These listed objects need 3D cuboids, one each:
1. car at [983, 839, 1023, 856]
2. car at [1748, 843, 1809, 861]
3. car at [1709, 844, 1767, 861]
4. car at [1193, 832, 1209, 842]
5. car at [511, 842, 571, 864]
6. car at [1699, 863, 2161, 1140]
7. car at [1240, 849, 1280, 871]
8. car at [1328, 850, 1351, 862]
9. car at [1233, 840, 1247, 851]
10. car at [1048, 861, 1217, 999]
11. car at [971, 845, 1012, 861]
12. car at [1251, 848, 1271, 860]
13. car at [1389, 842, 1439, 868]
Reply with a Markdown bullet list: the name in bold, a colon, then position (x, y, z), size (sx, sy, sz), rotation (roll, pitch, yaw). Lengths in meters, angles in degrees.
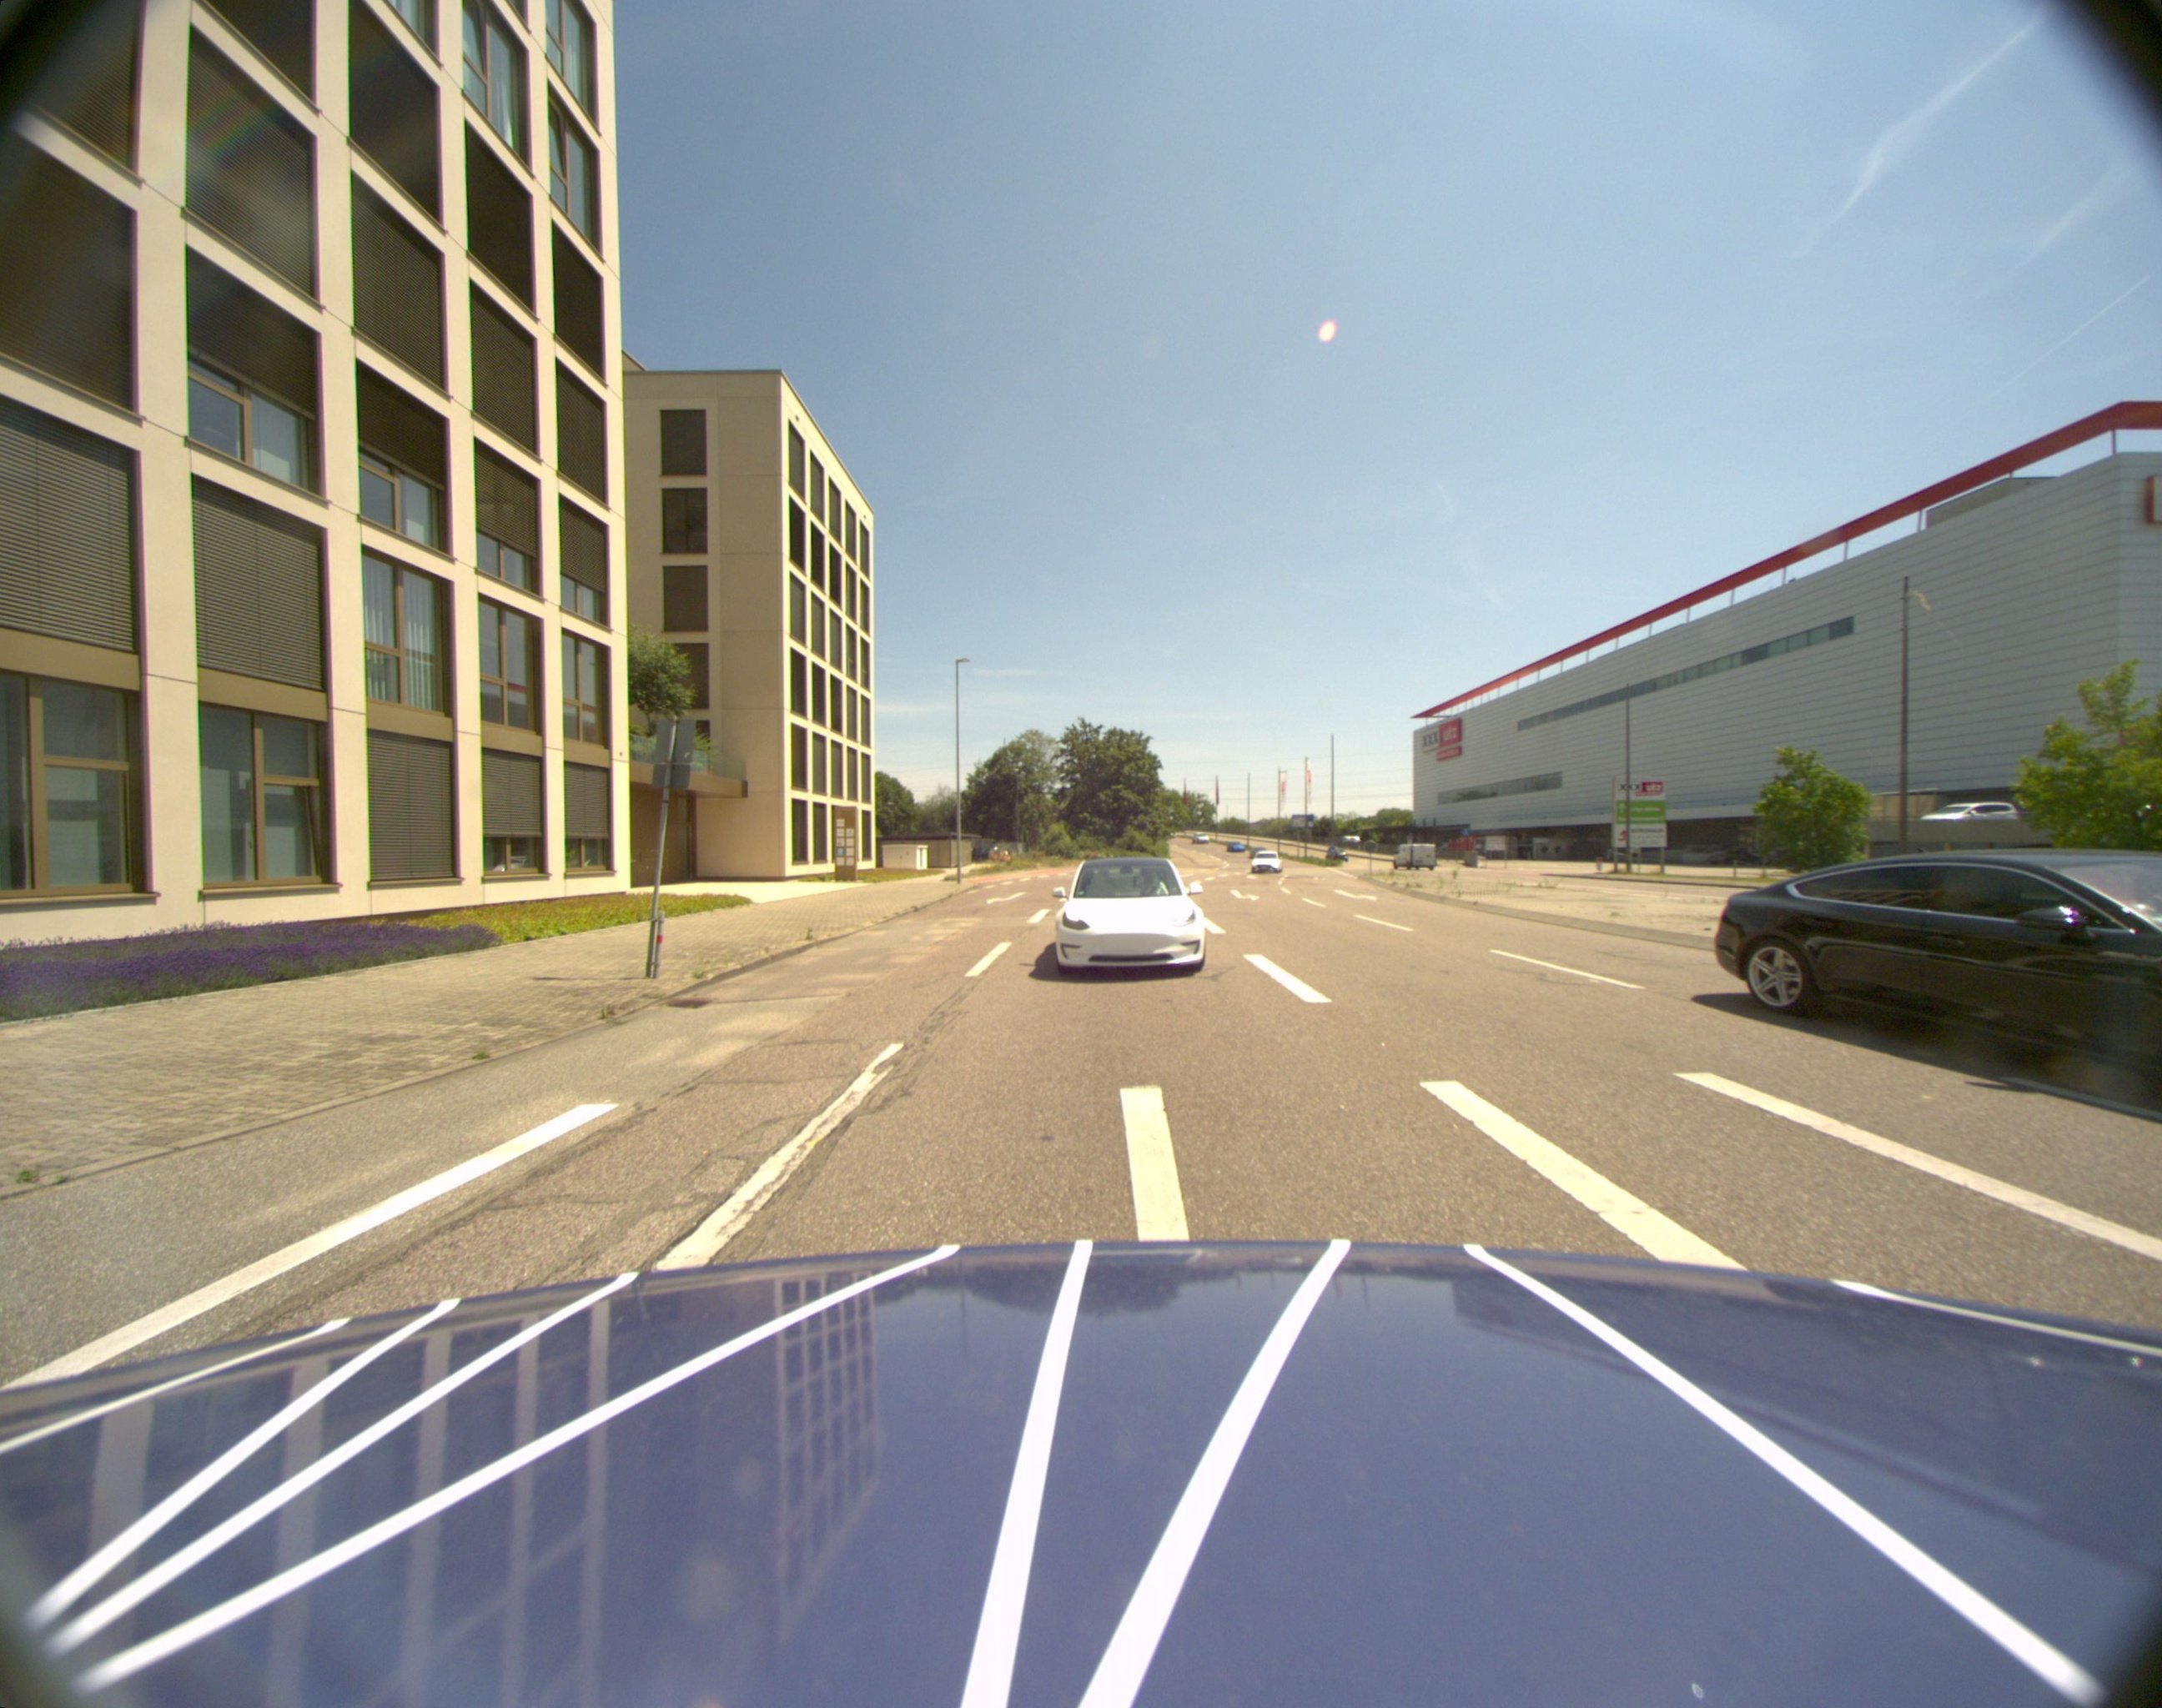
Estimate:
- **car**: position (-8.746, -0.727, 85.397), size (4.005, 1.942, 1.996), rotation (0, 1, -24)
- **car**: position (61.183, -0.184, 66.671), size (3.482, 1.487, 1.959), rotation (0, 1, 2)
- **car**: position (61.069, -0.152, 70.647), size (3.746, 1.611, 1.911), rotation (0, 1, 1)
- **car**: position (20.369, -2.903, 128.702), size (1.680, 1.566, 4.054), rotation (-1, 1, -6)
- **car**: position (-47.310, -0.120, 66.695), size (1.997, 1.841, 4.003), rotation (0, 1, 10)
- **car**: position (6.571, 0.793, 4.813), size (1.752, 1.382, 4.534), rotation (-1, 0, 2)
- **car**: position (12.106, 0.400, 51.634), size (1.735, 1.441, 4.230), rotation (0, 0, 0)
- **car**: position (27.648, 0.208, 81.422), size (1.859, 1.295, 3.896), rotation (1, 1, 11)
- **car**: position (22.848, -1.244, 109.374), size (1.800, 1.405, 4.408), rotation (-1, 1, 9)
- **car**: position (0.528, 0.878, 10.789), size (1.880, 1.417, 4.405), rotation (-2, 1, -2)
- **car**: position (-9.576, -0.119, 81.301), size (4.005, 1.652, 1.834), rotation (-1, 1, -23)
- **car**: position (22.053, -0.007, 93.281), size (1.801, 1.369, 4.408), rotation (0, 1, 6)
- **car**: position (25.097, 0.056, 57.465), size (1.835, 1.840, 4.840), rotation (0, 1, 2)
